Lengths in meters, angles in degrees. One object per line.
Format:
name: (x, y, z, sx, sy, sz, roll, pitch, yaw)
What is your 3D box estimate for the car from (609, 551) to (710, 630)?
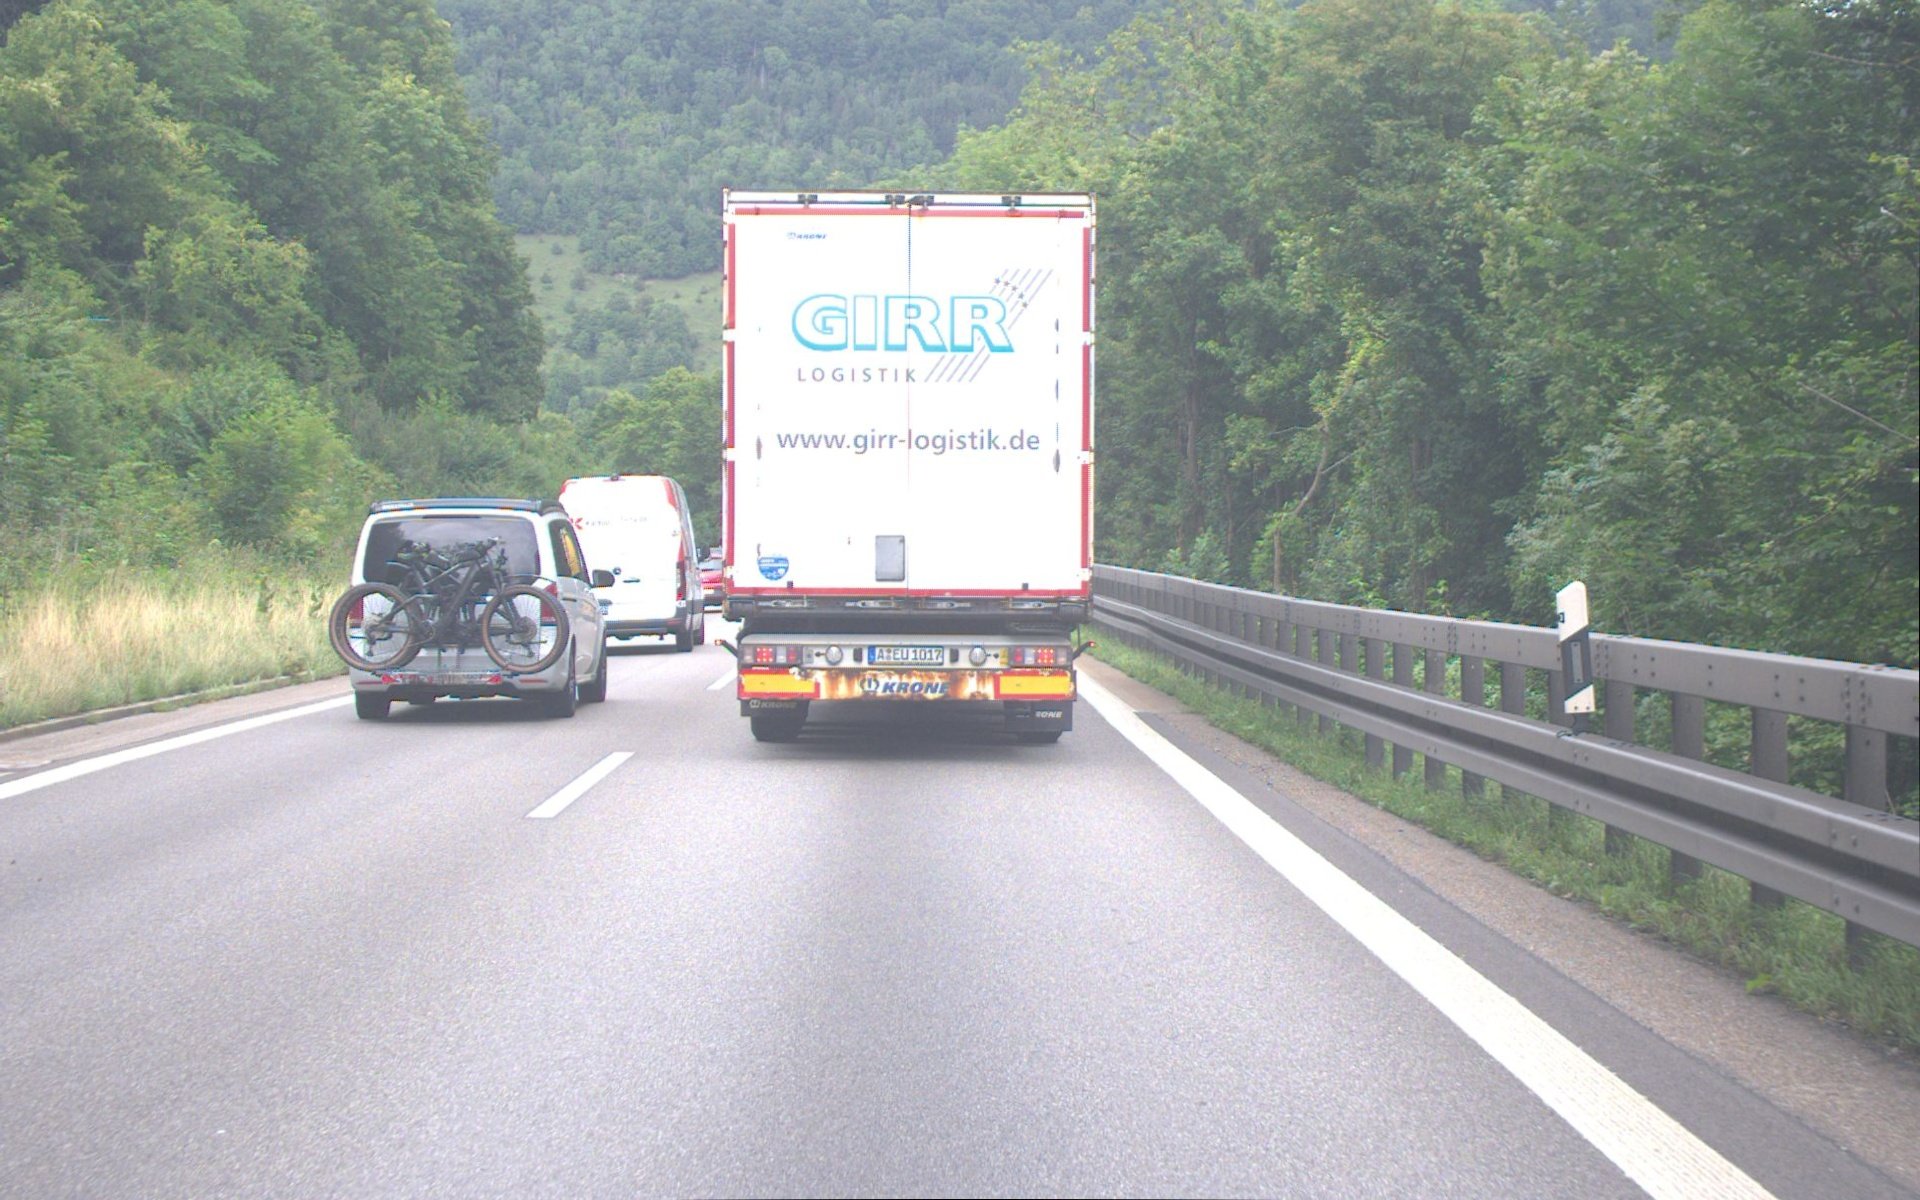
car: (-5.898, -0.195, 67.734, 1.683, 1.509, 3.765, -1, 0, 0)

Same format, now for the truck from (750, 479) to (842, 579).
truck: (-6.670, -2.793, 138.530, 3.068, 3.864, 8.460, -1, 0, -7)

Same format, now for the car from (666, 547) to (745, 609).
car: (-6.230, -0.554, 84.430, 1.683, 1.447, 3.765, -1, 1, -1)

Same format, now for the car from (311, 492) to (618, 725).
car: (-4.369, 0.028, 31.179, 2.018, 1.908, 5.563, 0, 1, 0)

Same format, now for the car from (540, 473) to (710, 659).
car: (-4.943, -0.523, 51.456, 2.123, 2.589, 5.564, -1, 1, -2)

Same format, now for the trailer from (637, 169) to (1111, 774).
trailer: (-0.618, -0.929, 27.855, 3.133, 4.029, 9.440, 1, 1, 0)
